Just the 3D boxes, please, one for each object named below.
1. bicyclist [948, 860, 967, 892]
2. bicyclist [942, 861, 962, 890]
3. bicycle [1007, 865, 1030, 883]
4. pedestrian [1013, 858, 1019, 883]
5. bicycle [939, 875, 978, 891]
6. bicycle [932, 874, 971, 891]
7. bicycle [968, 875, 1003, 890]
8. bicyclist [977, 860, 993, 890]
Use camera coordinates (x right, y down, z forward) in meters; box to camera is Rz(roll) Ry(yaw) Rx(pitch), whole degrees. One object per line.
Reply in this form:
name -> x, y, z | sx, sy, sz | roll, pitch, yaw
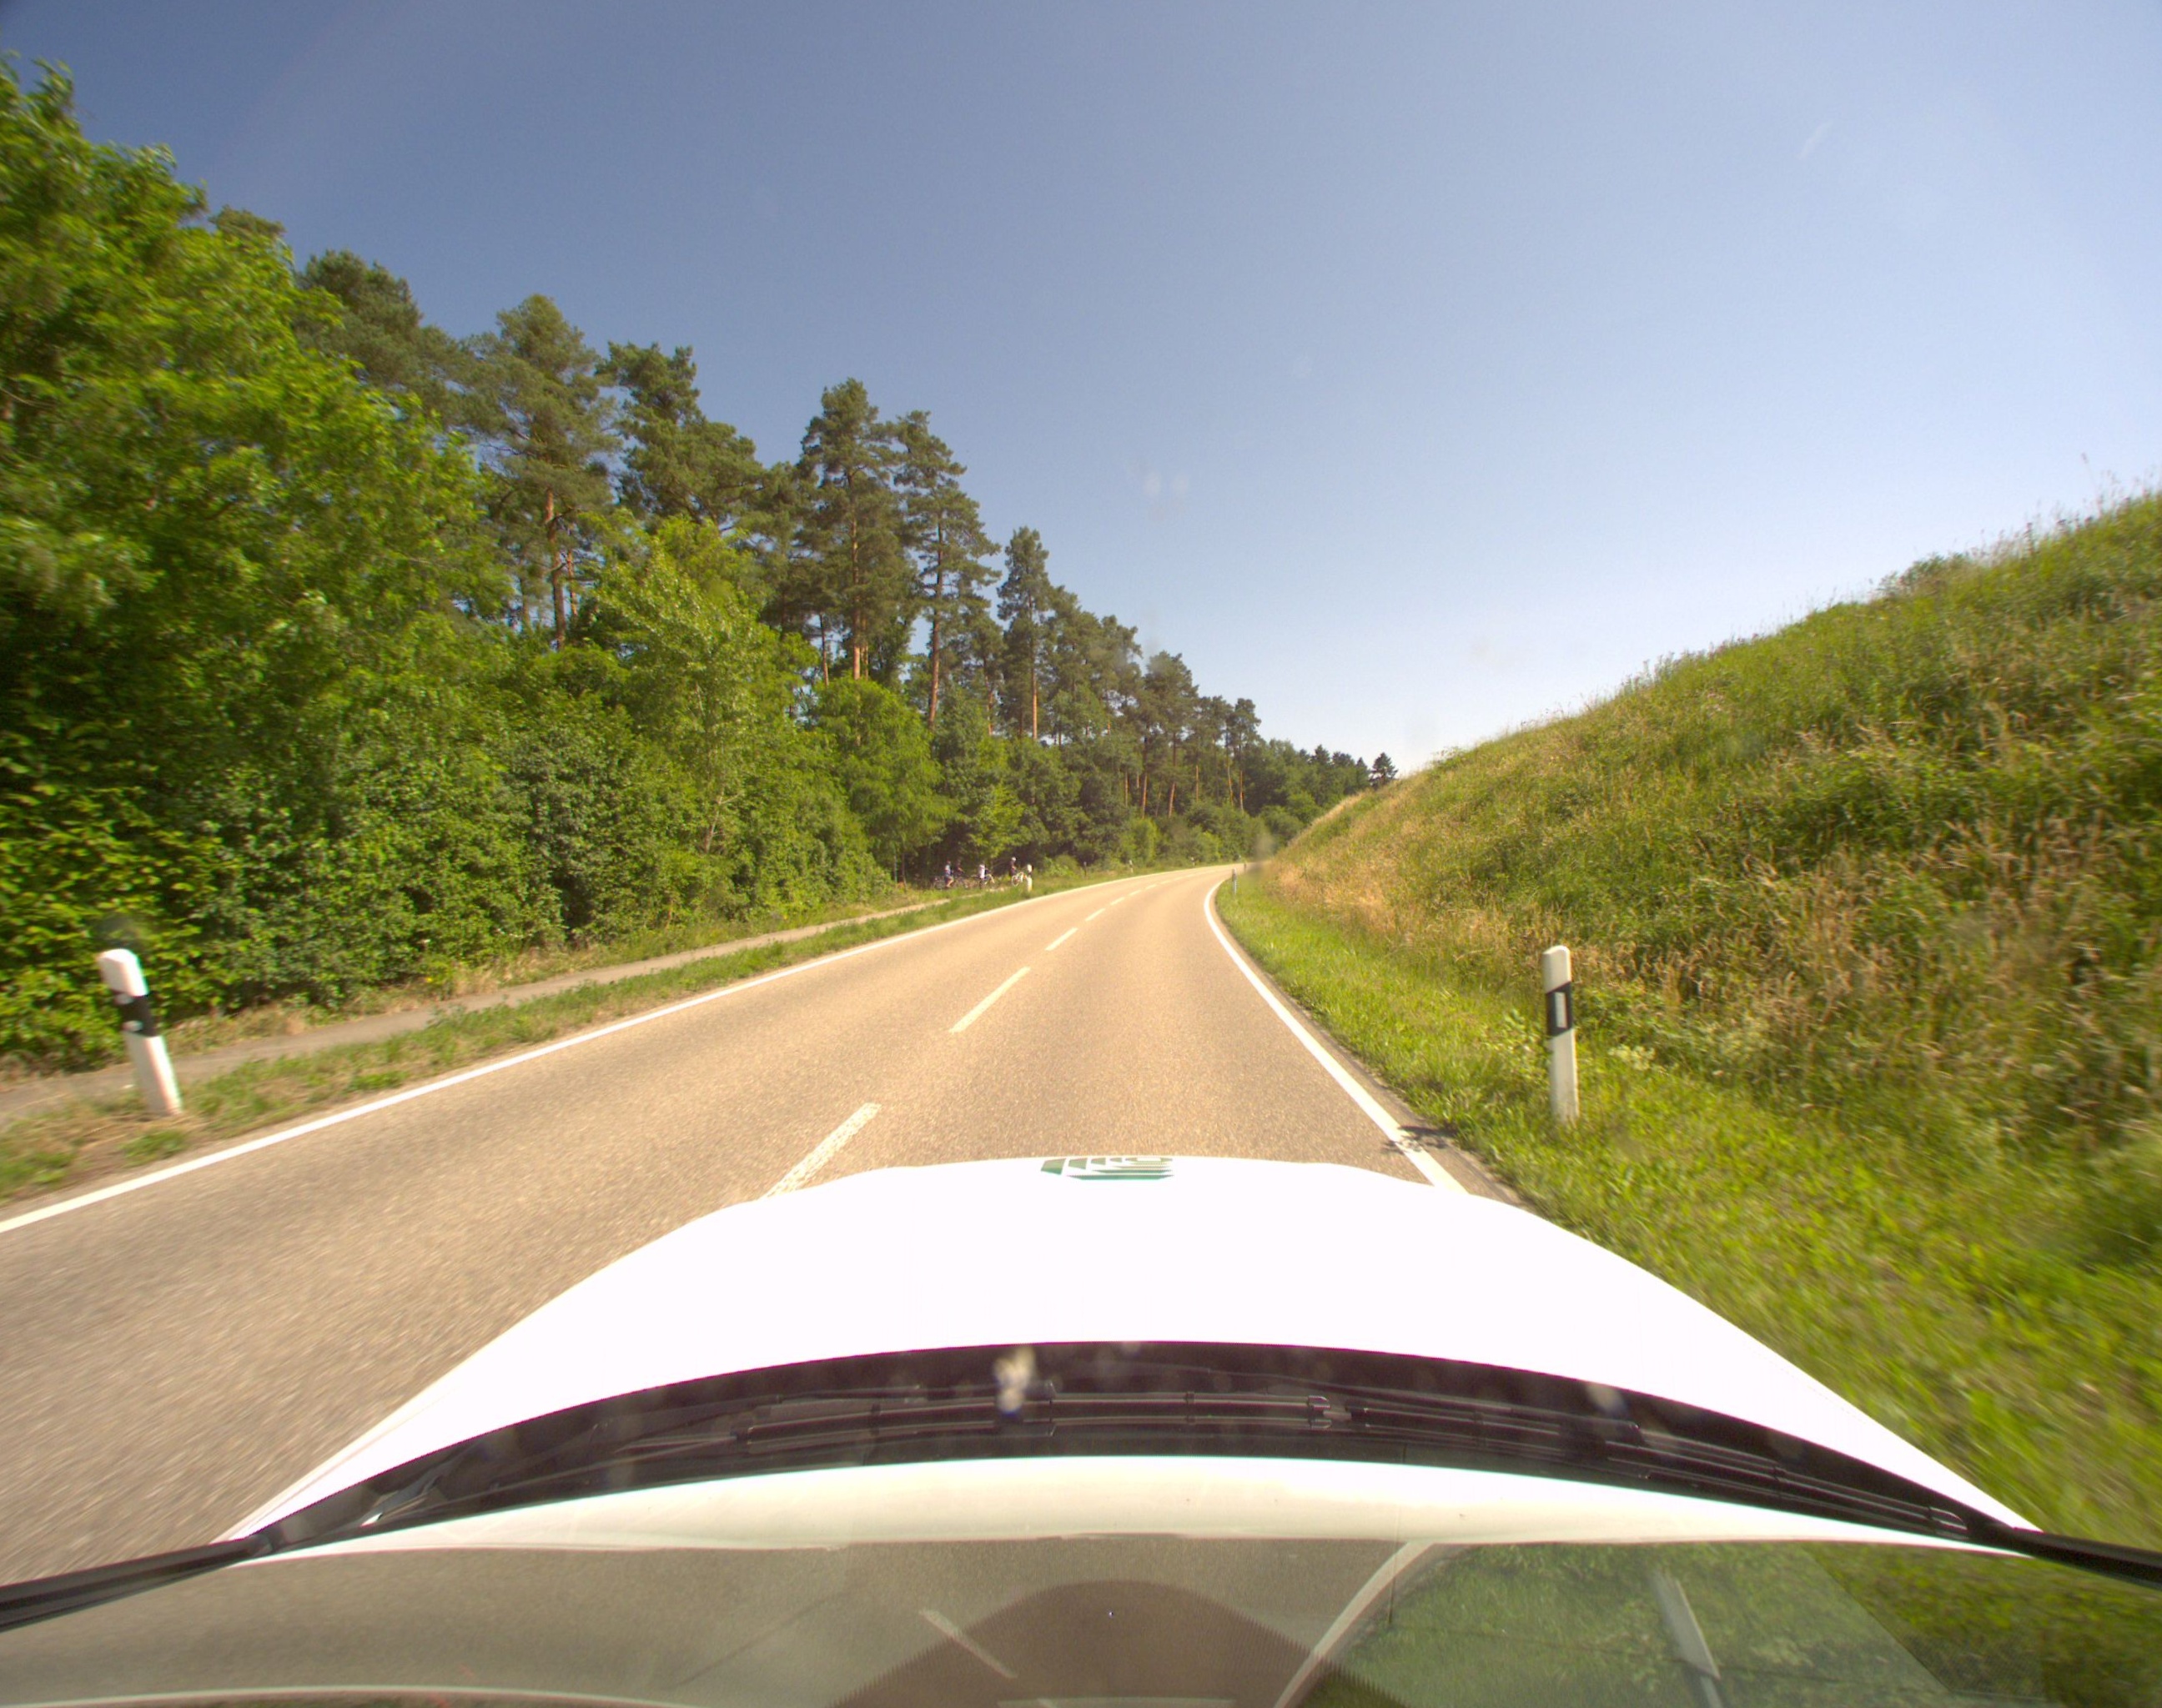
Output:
bicyclist -> -6.648, 1.164, 43.934 | 0.854, 1.701, 0.599 | 0, -1, -34
bicyclist -> -6.788, 1.120, 42.732 | 0.875, 1.545, 0.599 | 0, -1, -34
bicycle -> -4.005, 1.295, 52.155 | 0.575, 1.086, 1.456 | 0, 2, 41
pedestrian -> -4.180, 1.051, 52.255 | 0.282, 1.538, 0.391 | -2, 0, 7
bicycle -> -6.576, 1.549, 43.840 | 1.993, 0.829, 0.599 | 0, -1, -35
bicycle -> -6.785, 1.485, 42.716 | 1.993, 0.829, 0.599 | 0, -1, -35
bicycle -> -5.581, 1.651, 47.560 | 1.990, 0.829, 0.600 | 0, -1, -28
bicyclist -> -5.602, 1.236, 47.550 | 0.791, 1.719, 0.600 | 0, -1, -28
